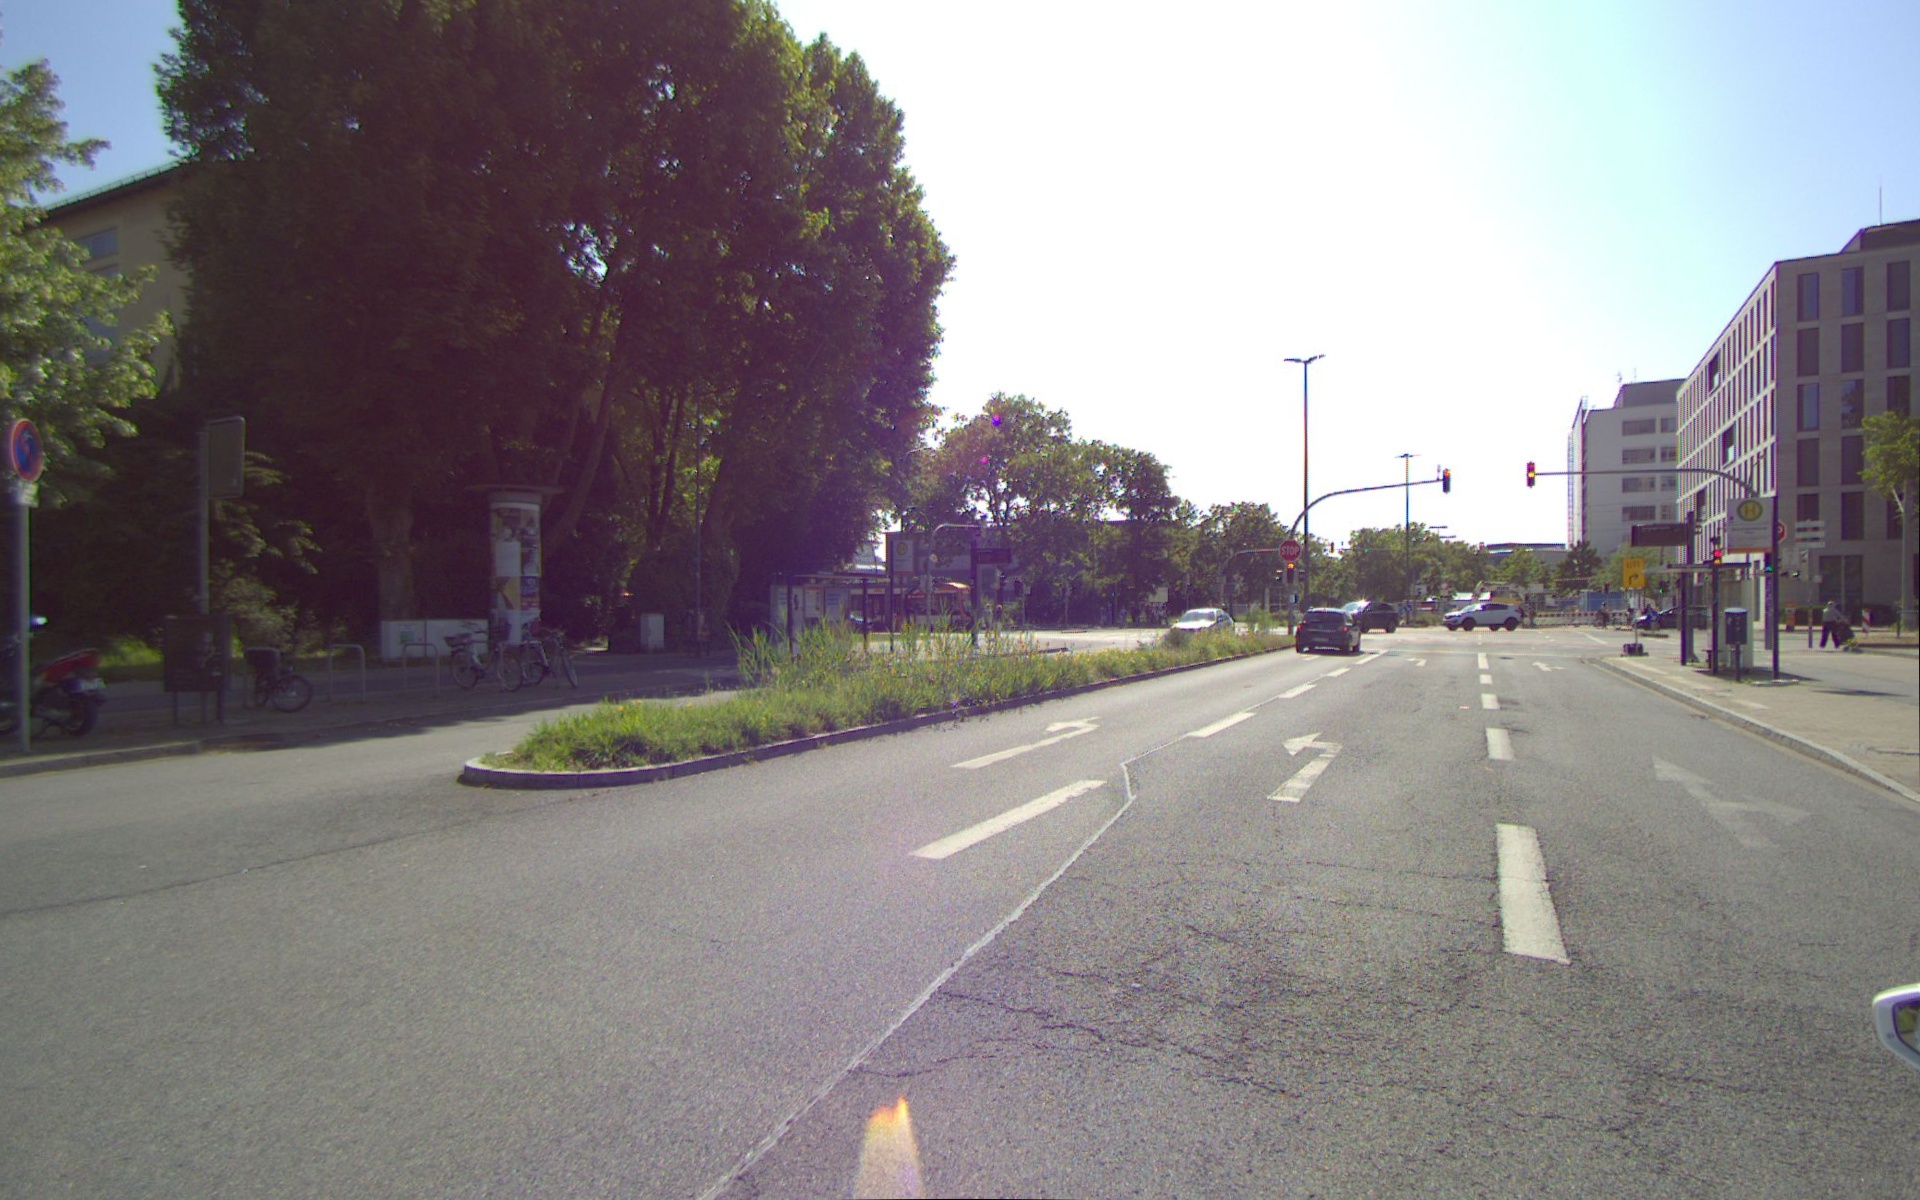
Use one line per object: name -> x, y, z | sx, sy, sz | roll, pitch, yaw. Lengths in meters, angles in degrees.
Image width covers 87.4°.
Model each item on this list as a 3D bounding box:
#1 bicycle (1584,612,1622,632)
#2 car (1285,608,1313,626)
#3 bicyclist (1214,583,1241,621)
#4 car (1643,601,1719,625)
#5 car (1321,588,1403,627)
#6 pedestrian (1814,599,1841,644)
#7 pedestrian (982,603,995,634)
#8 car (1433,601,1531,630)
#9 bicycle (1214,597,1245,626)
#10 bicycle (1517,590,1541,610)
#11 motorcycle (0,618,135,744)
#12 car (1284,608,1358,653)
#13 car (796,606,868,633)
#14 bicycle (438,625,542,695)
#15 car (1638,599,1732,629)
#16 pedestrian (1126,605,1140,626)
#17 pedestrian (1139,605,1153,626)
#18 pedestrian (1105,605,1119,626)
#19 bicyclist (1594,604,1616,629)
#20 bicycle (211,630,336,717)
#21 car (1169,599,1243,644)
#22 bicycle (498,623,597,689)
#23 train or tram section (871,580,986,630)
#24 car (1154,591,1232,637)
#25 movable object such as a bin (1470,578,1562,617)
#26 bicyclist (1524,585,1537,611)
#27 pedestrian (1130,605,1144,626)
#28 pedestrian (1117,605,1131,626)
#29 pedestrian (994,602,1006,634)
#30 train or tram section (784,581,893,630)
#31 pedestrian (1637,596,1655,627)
bicycle -> 44.626, 1.518, 69.705 | 2.200, 1.302, 0.523 | 0, 0, 37
car -> 29.144, 1.474, 86.551 | 1.714, 1.529, 3.967 | 0, -1, 10
bicyclist -> 21.289, 0.161, 79.887 | 1.575, 2.970, 2.350 | 0, -1, 28
car -> 49.234, 0.893, 68.691 | 3.926, 1.603, 1.841 | -1, -1, 27
car -> 22.209, 0.407, 55.432 | 4.823, 2.040, 1.980 | 0, 0, -37
pedestrian -> 30.253, 0.738, 35.036 | 0.609, 1.564, 0.461 | 0, 0, 27
pedestrian -> 1.587, 1.038, 56.204 | 0.647, 1.749, 0.753 | 0, 0, 10
car -> 30.877, 0.923, 59.470 | 4.773, 1.658, 2.000 | 0, 0, 0
bicycle -> 21.660, 0.930, 80.617 | 1.575, 2.299, 3.995 | 0, -1, 27
bicycle -> 57.496, -0.020, 101.527 | 2.059, 1.988, 0.825 | 0, 0, 34
motorcycle -> -10.079, 0.856, 11.099 | 1.815, 1.301, 0.693 | 0, 0, 21
car -> 12.148, 0.961, 33.632 | 1.962, 1.417, 3.996 | 0, 0, 26
car -> -6.787, 1.030, 53.317 | 3.444, 1.395, 1.636 | 0, 0, 26
bicycle -> -8.132, 1.012, 17.365 | 1.818, 1.121, 0.692 | 0, 0, 29
car -> 41.546, 0.828, 57.685 | 4.047, 1.660, 1.998 | -1, -1, 26
pedestrian -> 13.957, 1.246, 81.084 | 0.934, 1.633, 0.649 | 0, 0, -39
pedestrian -> 15.013, 1.244, 80.924 | 0.934, 1.633, 0.661 | 0, 0, -39
pedestrian -> 12.327, 1.255, 81.535 | 0.934, 1.633, 0.649 | 0, 0, -39
bicyclist -> 44.729, 1.123, 69.635 | 1.224, 1.696, 0.523 | 0, 0, 37
bicycle -> -9.488, 0.980, 13.870 | 1.818, 1.106, 0.692 | 0, 0, 29
car -> 9.649, 0.822, 39.206 | 1.861, 1.631, 4.513 | -1, -1, 26
bicycle -> -7.541, 0.994, 18.345 | 1.818, 1.137, 0.692 | 0, 0, 29
train or tram section -> -2.217, 0.368, 69.909 | 7.439, 3.376, 3.116 | 0, 0, 27
car -> 9.139, 0.513, 39.184 | 1.963, 1.661, 4.389 | -1, 0, 27
movable object such as a bin -> 66.731, -0.287, 120.757 | 9.534, 4.611, 3.158 | 0, 0, 30
bicyclist -> 57.605, -0.163, 101.455 | 1.055, 2.608, 0.825 | 0, 0, 34
pedestrian -> 14.085, 1.231, 79.939 | 0.934, 1.633, 0.649 | 0, 0, -39
pedestrian -> 13.308, 1.250, 81.457 | 0.934, 1.633, 0.649 | 0, 0, -39
pedestrian -> 2.242, 1.017, 56.118 | 0.557, 1.749, 0.734 | 0, 0, 10
train or tram section -> -8.870, 0.415, 73.259 | 7.439, 3.376, 3.116 | 0, 0, 27
pedestrian -> 45.912, 0.744, 67.248 | 0.769, 2.040, 0.773 | 0, 0, -33
